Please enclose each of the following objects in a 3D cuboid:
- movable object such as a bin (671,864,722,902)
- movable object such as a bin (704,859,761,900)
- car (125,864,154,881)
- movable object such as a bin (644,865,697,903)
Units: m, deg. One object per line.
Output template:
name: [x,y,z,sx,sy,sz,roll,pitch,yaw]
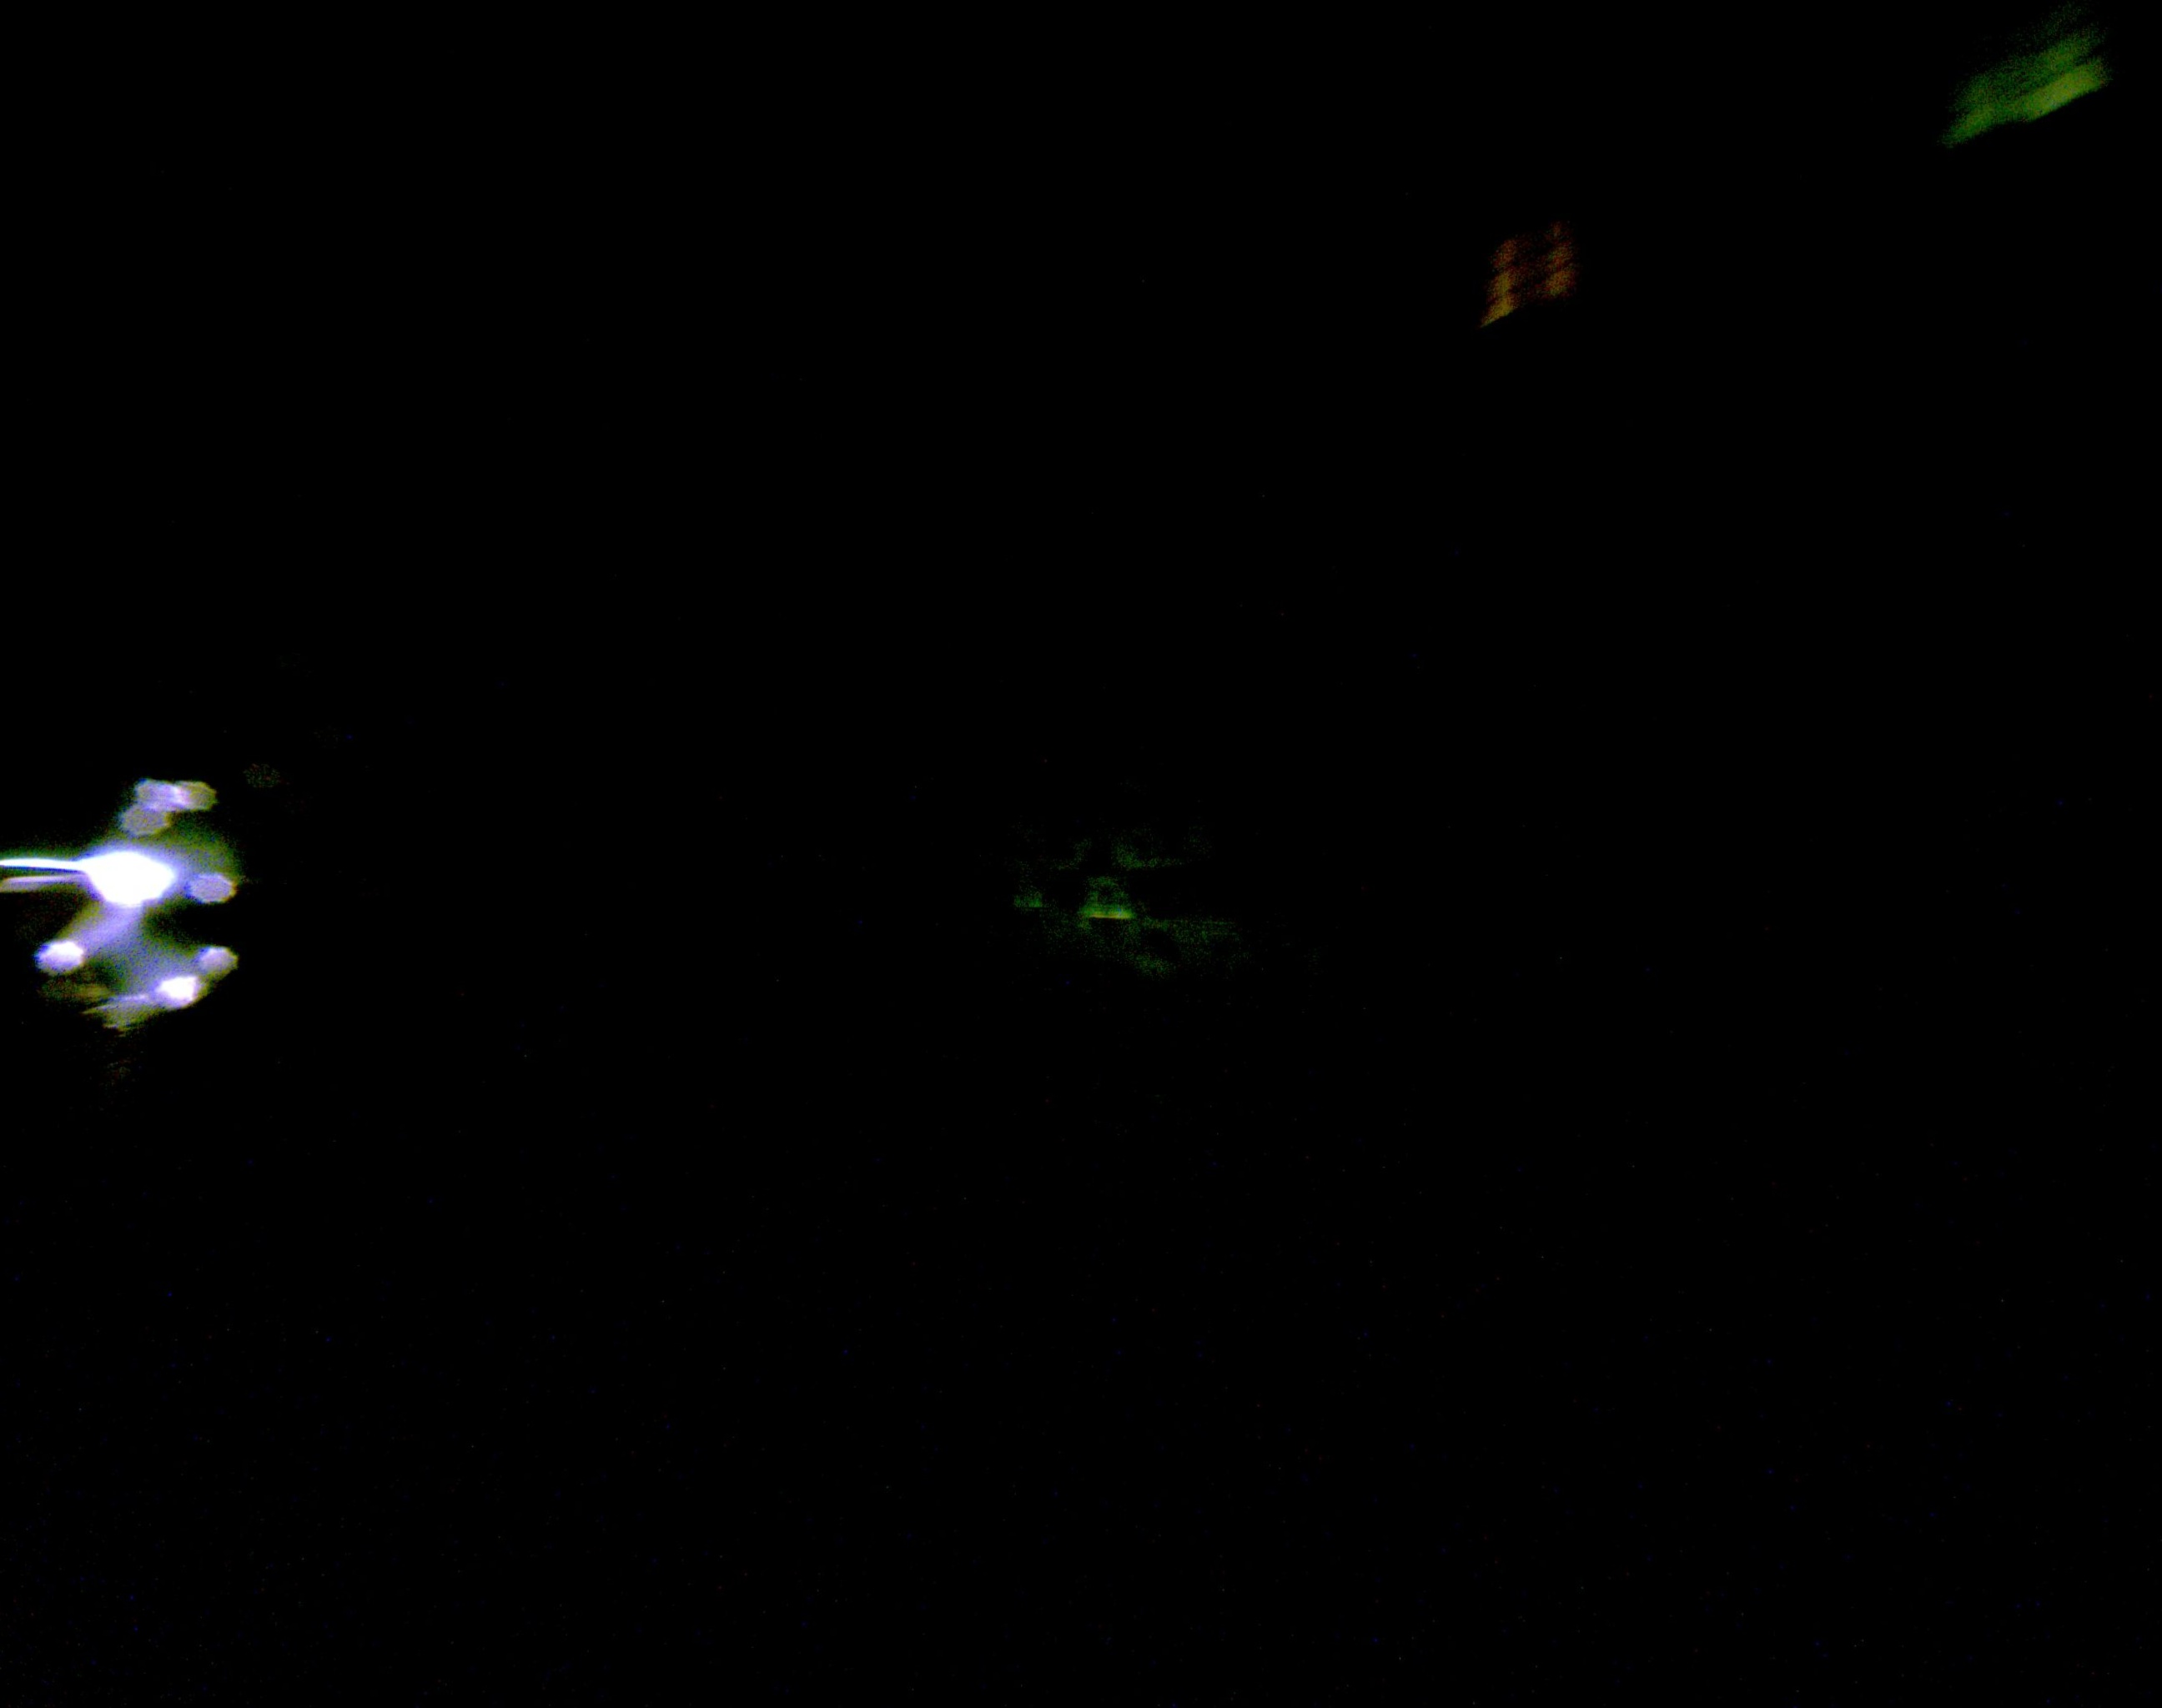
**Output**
movable object such as a bin: [-14.057,1.039,29.791,1.222,1.325,1.155,-1,0,5]
movable object such as a bin: [-12.733,0.924,29.797,1.378,1.413,1.255,-3,-1,11]
car: [-97.092,1.900,83.954,3.949,1.671,1.907,0,2,40]
movable object such as a bin: [-15.259,1.118,30.329,1.312,1.309,1.177,-2,1,3]
